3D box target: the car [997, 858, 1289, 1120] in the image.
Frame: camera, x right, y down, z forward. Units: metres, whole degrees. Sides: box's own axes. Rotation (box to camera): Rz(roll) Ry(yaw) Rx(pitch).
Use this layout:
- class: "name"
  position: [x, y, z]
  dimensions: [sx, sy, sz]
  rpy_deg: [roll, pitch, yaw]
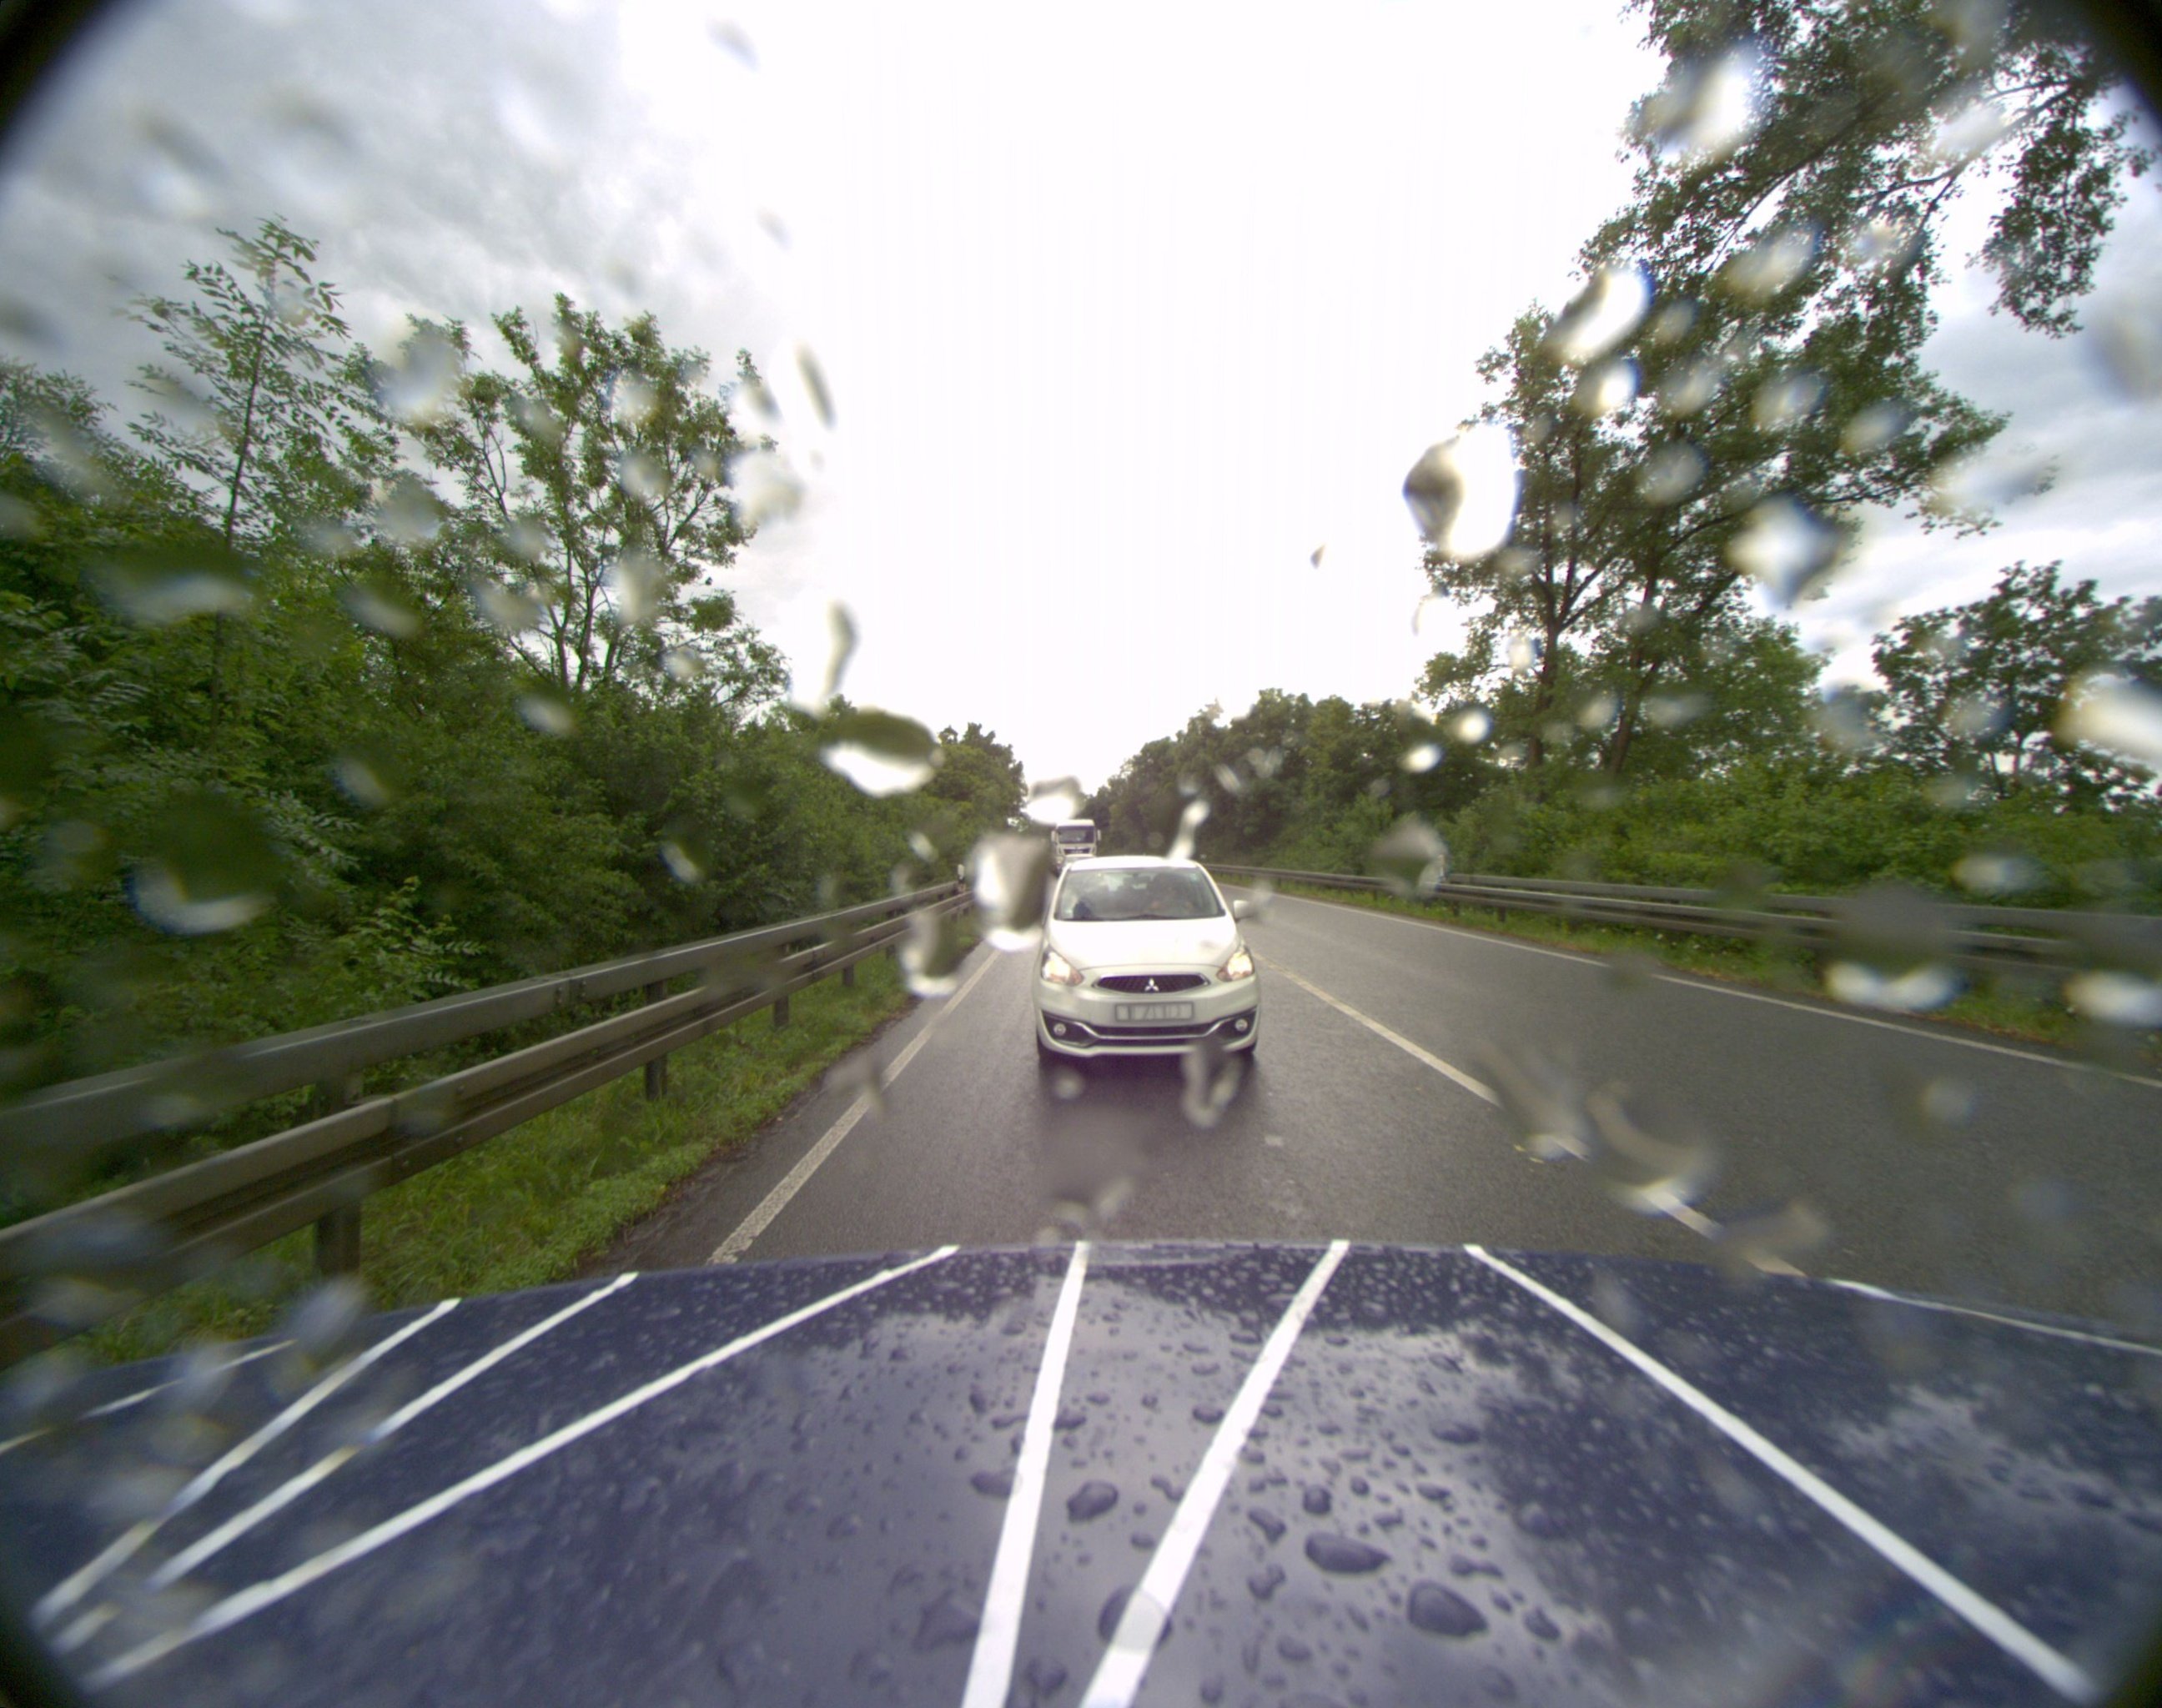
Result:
- class: "car"
  position: [0.415, 0.818, 6.554]
  dimensions: [1.700, 1.471, 4.063]
  rpy_deg: [-2, 1, 1]

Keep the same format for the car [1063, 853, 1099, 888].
- class: "car"
  position: [0.035, 0.696, 33.137]
  dimensions: [1.475, 1.410, 3.428]
  rpy_deg: [-1, 0, 1]

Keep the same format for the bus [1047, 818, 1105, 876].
- class: "bus"
  position: [-0.581, -0.478, 52.474]
  dimensions: [3.064, 3.405, 13.634]
  rpy_deg: [-2, 0, -4]

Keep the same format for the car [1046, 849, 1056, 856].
- class: "car"
  position: [-5.311, -0.258, 134.340]
  dimensions: [1.377, 1.281, 3.250]
  rpy_deg: [-2, 0, -10]

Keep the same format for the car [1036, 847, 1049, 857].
- class: "car"
  position: [-7.600, -0.400, 149.593]
  dimensions: [2.000, 1.936, 3.996]
  rpy_deg: [-2, 1, -10]

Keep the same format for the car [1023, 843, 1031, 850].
- class: "car"
  position: [-12.927, -1.693, 180.898]
  dimensions: [1.421, 1.611, 3.476]
  rpy_deg: [-2, 0, -10]
